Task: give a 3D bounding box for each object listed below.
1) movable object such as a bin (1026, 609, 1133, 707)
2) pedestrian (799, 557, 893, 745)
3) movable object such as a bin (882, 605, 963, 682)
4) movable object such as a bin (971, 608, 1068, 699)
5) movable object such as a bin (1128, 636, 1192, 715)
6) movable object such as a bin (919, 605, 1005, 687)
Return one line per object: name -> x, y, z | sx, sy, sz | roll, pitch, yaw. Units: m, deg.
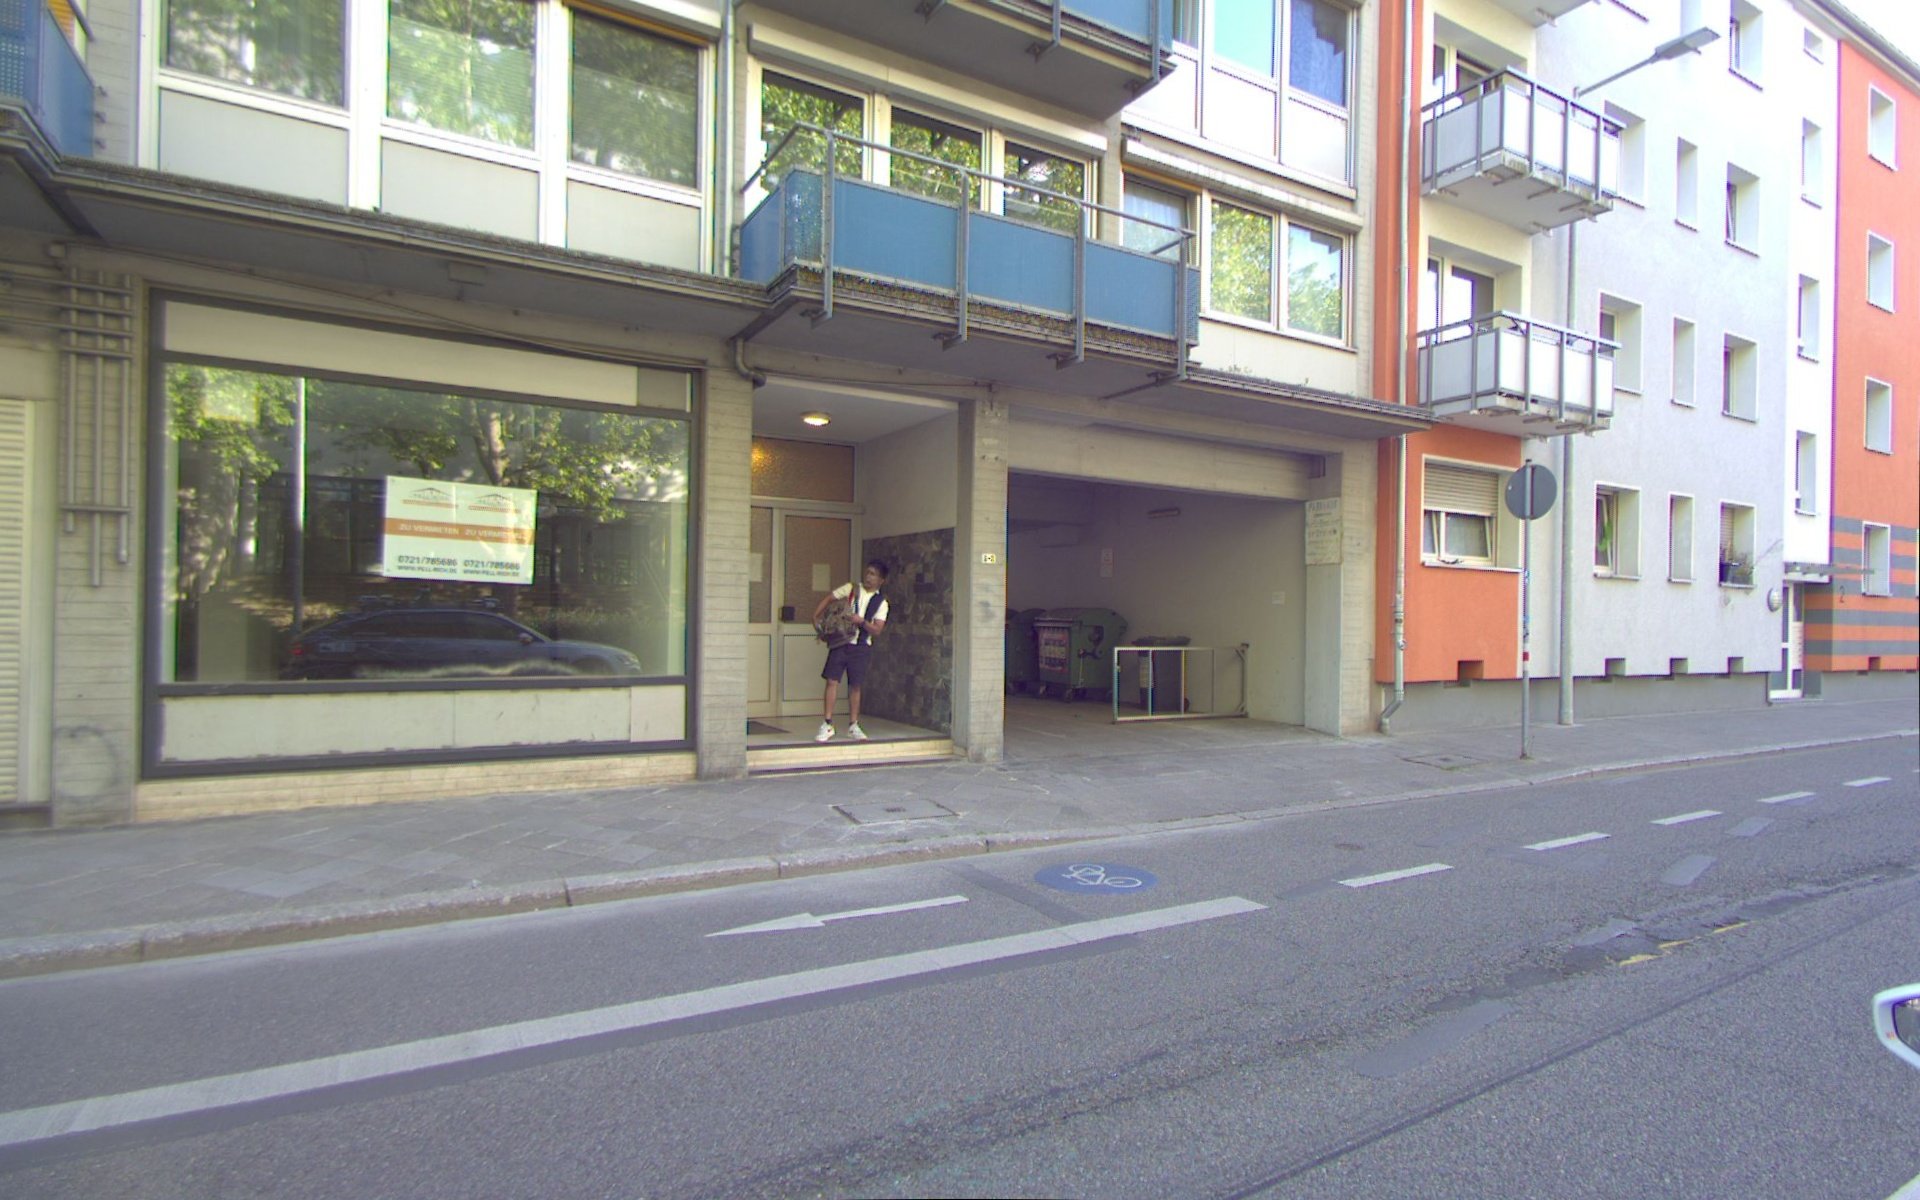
movable object such as a bin -> 1.870, 0.881, 15.815 | 1.120, 1.444, 1.268 | 2, 0, -28
pedestrian -> -1.035, 0.452, 9.268 | 0.778, 1.639, 0.836 | 2, 0, -5
movable object such as a bin -> -0.747, 0.843, 19.792 | 1.120, 1.444, 1.268 | 2, 0, -28
movable object such as a bin -> 1.003, 0.890, 17.156 | 1.120, 1.444, 1.268 | 2, 0, -28
movable object such as a bin -> 2.882, 1.080, 14.491 | 0.713, 1.094, 0.533 | 2, 0, -29
movable object such as a bin -> 0.026, 0.840, 18.701 | 1.120, 1.444, 1.268 | 2, 0, -28
